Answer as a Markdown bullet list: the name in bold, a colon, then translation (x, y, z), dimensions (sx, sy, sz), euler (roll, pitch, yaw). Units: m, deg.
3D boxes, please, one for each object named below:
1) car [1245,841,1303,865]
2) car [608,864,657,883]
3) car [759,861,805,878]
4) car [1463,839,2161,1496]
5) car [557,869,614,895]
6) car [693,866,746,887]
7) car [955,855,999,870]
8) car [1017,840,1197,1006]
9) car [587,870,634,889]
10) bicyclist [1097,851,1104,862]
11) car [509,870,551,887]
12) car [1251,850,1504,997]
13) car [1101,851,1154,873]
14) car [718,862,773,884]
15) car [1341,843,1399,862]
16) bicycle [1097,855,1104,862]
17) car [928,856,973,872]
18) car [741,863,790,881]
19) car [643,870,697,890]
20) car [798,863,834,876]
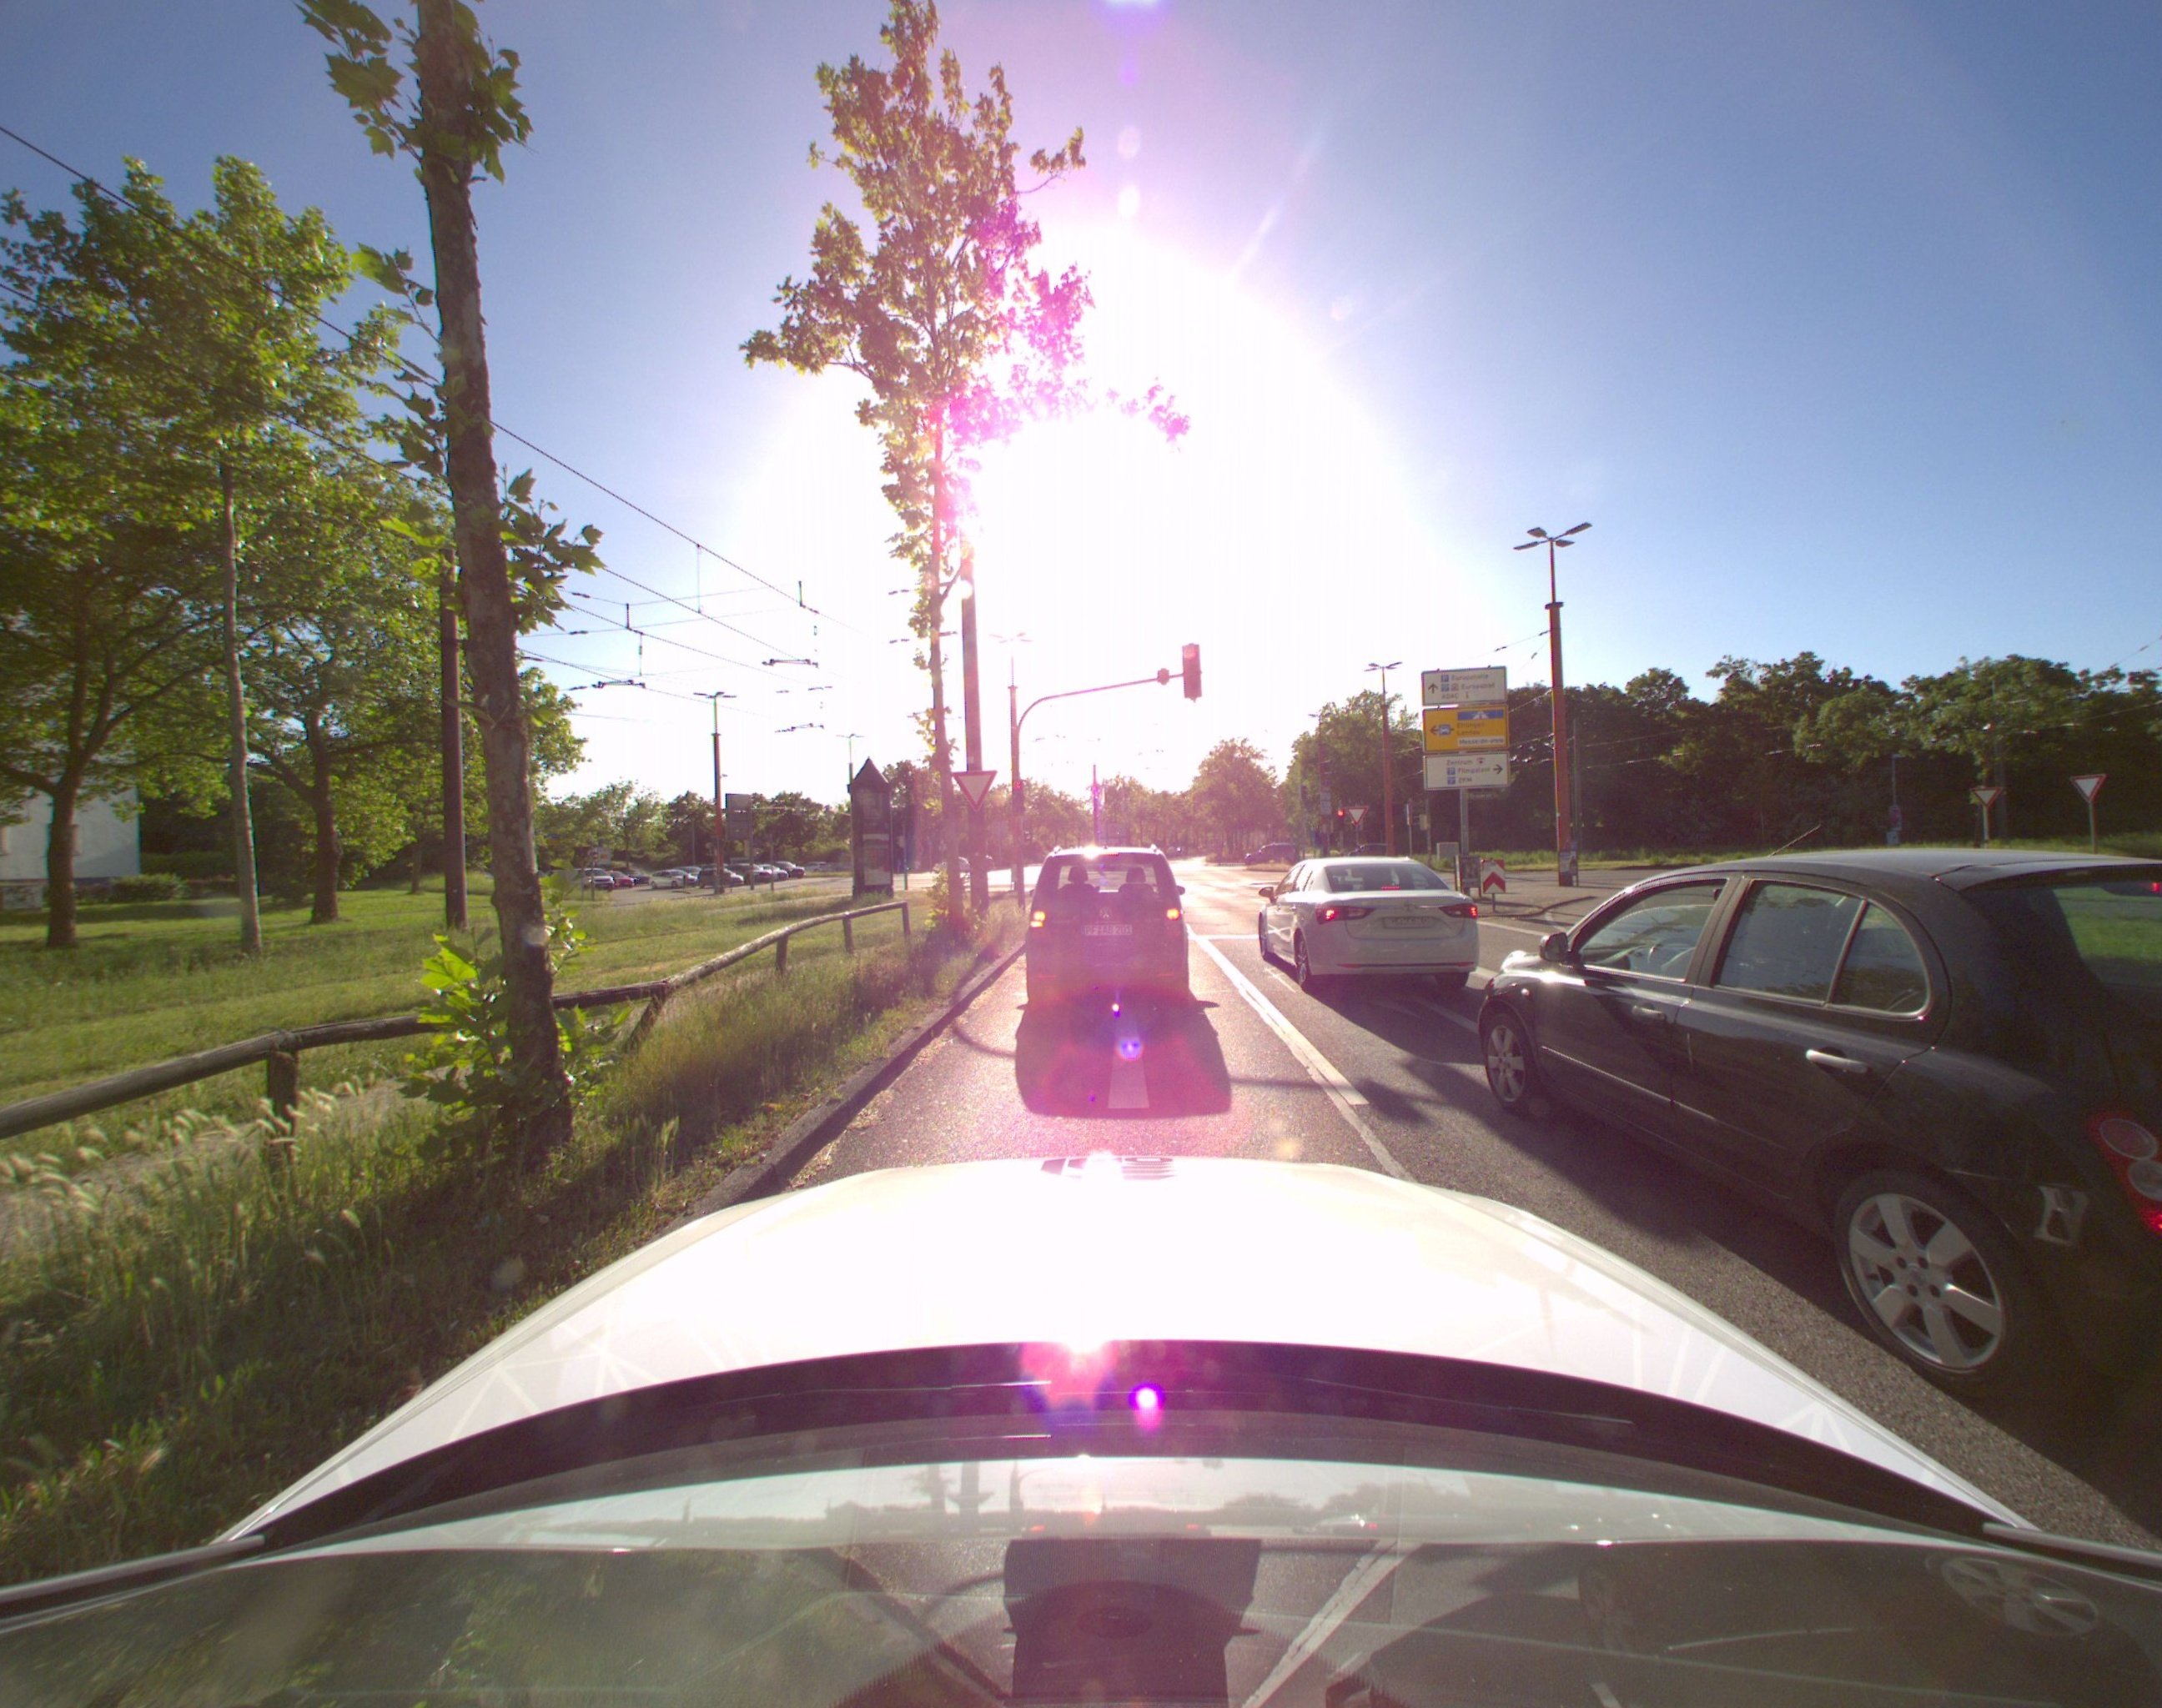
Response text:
- **car**: translation (15.134, -0.051, 63.899), dimensions (4.081, 1.791, 1.809), euler (-1, 0, 26)
- **car**: translation (-40.456, 1.730, 73.437), dimensions (4.583, 1.647, 1.767), euler (-1, 0, 32)
- **car**: translation (-26.731, 1.383, 72.817), dimensions (4.102, 1.415, 1.553), euler (-1, 0, 28)
- **car**: translation (3.176, 0.694, 3.494), dimensions (1.570, 1.440, 3.443), euler (0, -1, 2)
- **car**: translation (-38.231, 2.136, 62.760), dimensions (4.839, 1.821, 1.845), euler (-1, 0, 34)
- **car**: translation (-27.332, 1.697, 61.574), dimensions (3.793, 1.441, 1.667), euler (-1, 0, 29)
- **car**: translation (-10.412, 0.865, 81.527), dimensions (4.080, 1.471, 1.667), euler (-1, 0, 27)
- **car**: translation (0.362, 0.688, 10.088), dimensions (1.731, 1.602, 4.329), euler (0, -1, 3)
- **car**: translation (-39.443, 2.153, 68.257), dimensions (4.145, 1.520, 1.667), euler (-1, 0, 32)
- **bicyclist**: translation (3.556, 0.416, 148.323), dimensions (0.970, 1.904, 1.053), euler (-1, 0, 9)
- **car**: translation (-51.127, 2.264, 75.528), dimensions (4.145, 1.520, 1.667), euler (-1, 0, 32)
- **car**: translation (3.369, 0.708, 10.193), dimensions (1.792, 1.440, 4.329), euler (0, 0, 3)
- **car**: translation (3.967, 0.649, 69.520), dimensions (4.081, 1.791, 1.809), euler (-1, 0, 25)
- **car**: translation (-26.927, 1.518, 65.356), dimensions (4.583, 1.647, 1.667), euler (-1, 0, 32)
- **car**: translation (22.657, -0.133, 63.924), dimensions (4.080, 1.403, 1.666), euler (-1, 0, 27)
- **bicycle**: translation (3.556, 0.814, 148.281), dimensions (0.970, 1.388, 2.987), euler (-1, 0, 9)
- **car**: translation (-12.469, 0.963, 77.848), dimensions (4.079, 1.403, 1.667), euler (-1, 0, 29)
- **car**: translation (-26.834, 1.525, 69.193), dimensions (4.102, 1.415, 1.553), euler (-1, 0, 28)
- **car**: translation (-32.666, 2.076, 64.739), dimensions (4.577, 1.520, 1.667), euler (-1, 0, 32)
- **car**: translation (-30.028, 1.723, 92.199), dimensions (3.756, 1.403, 1.666), euler (-1, 0, 26)
